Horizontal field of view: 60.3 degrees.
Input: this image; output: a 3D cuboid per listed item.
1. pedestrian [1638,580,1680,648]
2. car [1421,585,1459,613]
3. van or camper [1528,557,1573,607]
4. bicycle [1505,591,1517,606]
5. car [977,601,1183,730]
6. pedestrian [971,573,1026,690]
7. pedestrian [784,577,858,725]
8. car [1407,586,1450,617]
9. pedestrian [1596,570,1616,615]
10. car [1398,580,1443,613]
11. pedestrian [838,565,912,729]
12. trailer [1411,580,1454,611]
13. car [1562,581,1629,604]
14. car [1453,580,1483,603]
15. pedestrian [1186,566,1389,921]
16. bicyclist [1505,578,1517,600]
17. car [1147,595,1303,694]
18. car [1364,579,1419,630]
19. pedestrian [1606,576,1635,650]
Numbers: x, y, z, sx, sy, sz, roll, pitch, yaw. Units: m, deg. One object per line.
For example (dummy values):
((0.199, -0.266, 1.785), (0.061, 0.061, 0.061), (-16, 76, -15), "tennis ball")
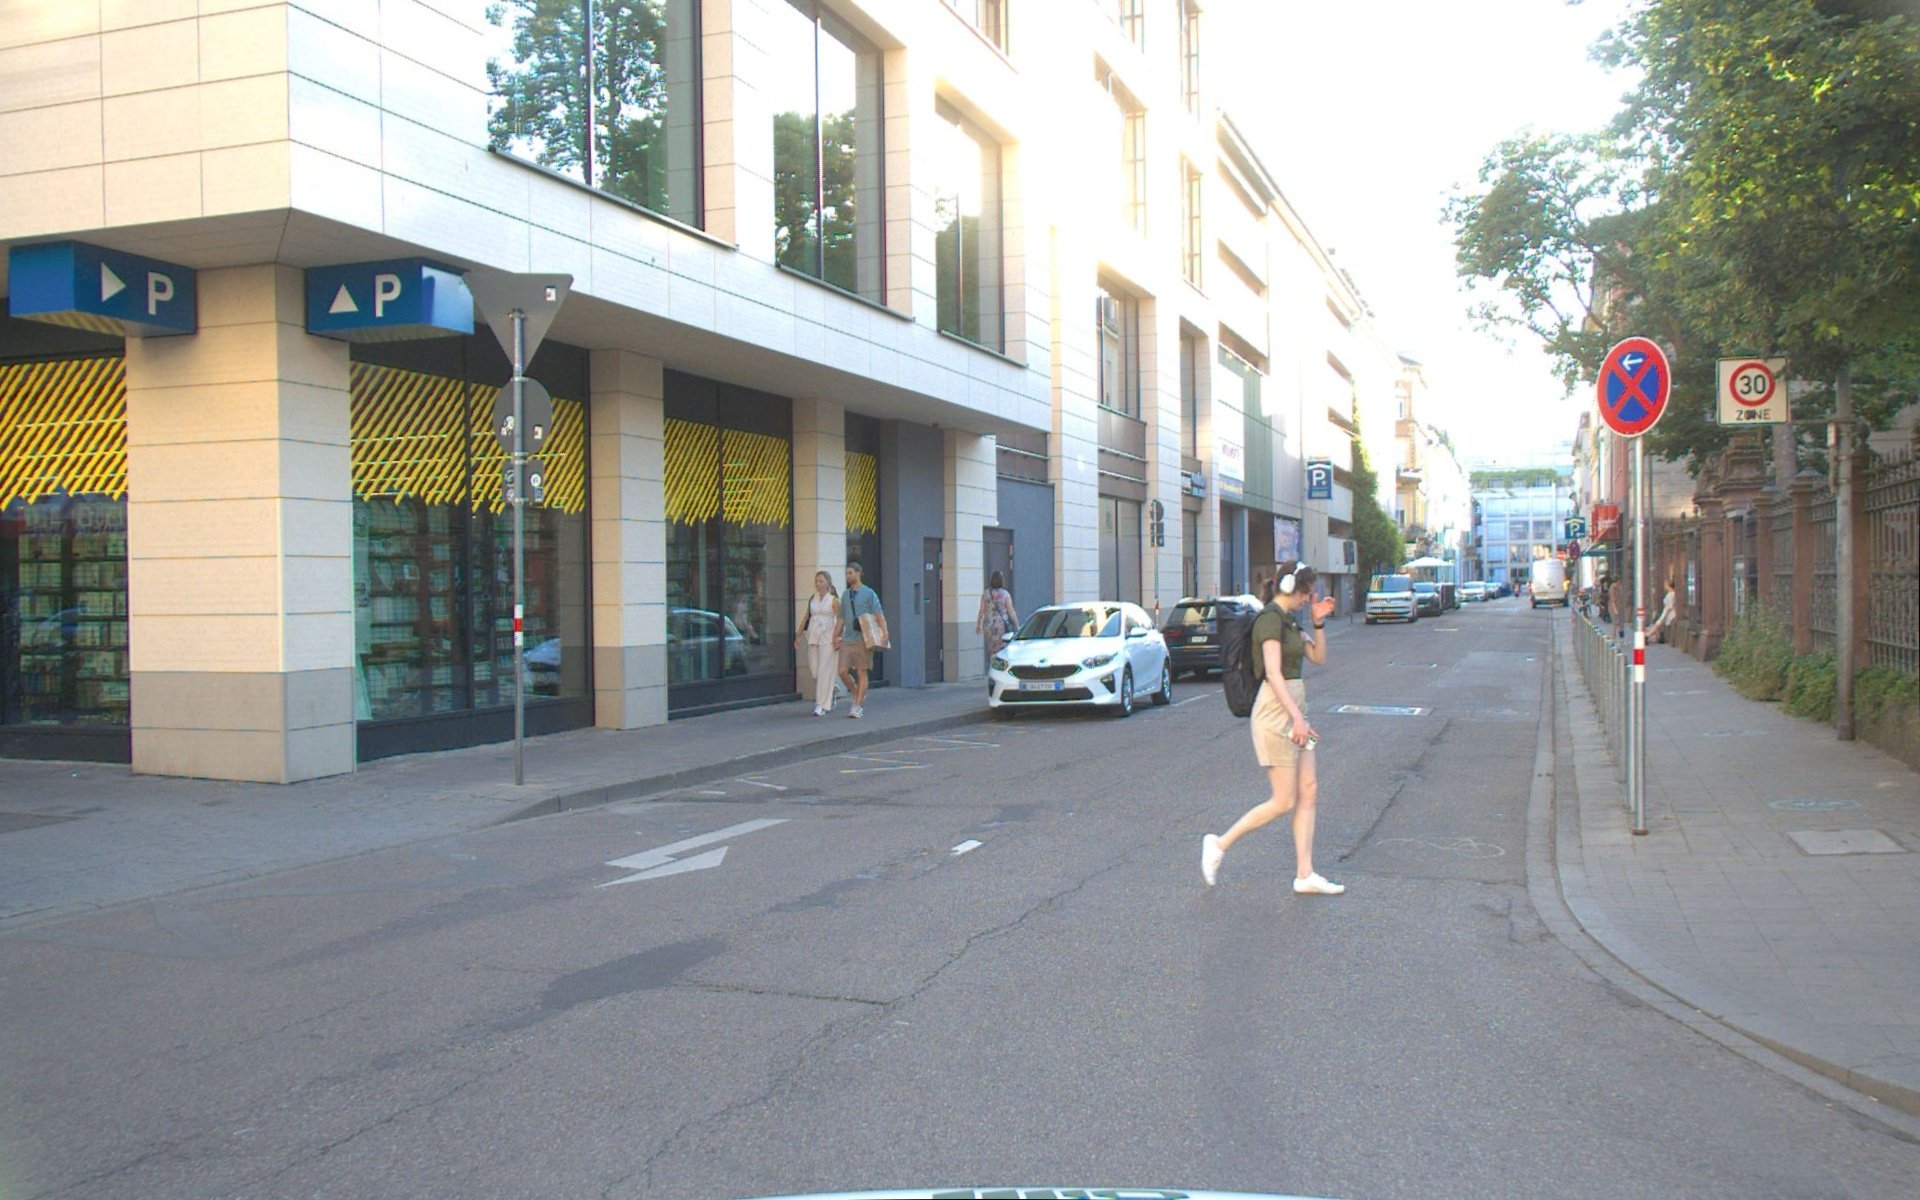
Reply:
((16.059, 0.323, 38.014), (0.733, 1.526, 0.619), (-3, 0, 14), "pedestrian")
((26.196, -0.079, 90.185), (1.844, 1.478, 4.002), (-1, 0, 18), "car")
((34.201, -1.000, 95.793), (2.211, 2.652, 5.113), (-5, -2, 20), "van or camper")
((46.954, -0.120, 140.913), (0.955, 1.302, 2.755), (-1, 0, 20), "bicycle")
((1.703, 0.790, 21.943), (1.740, 1.478, 4.233), (-1, 0, 18), "car")
((0.606, 0.481, 25.632), (0.658, 1.775, 0.647), (-1, 0, 20), "pedestrian")
((-1.627, 0.583, 19.448), (0.658, 1.704, 0.648), (-1, 0, 17), "pedestrian")
((23.154, 0.068, 81.644), (1.844, 1.478, 4.002), (-1, 0, 18), "car")
((24.963, -0.285, 63.931), (0.648, 1.695, 0.624), (-3, -1, 20), "pedestrian")
((21.538, -0.185, 77.254), (1.844, 1.478, 4.002), (-1, 0, 18), "car")
((-0.988, 0.529, 19.240), (0.658, 1.868, 0.648), (-1, 0, 17), "pedestrian")
((24.528, -0.226, 85.772), (1.952, 1.584, 4.002), (-1, 0, 18), "trailer")
((40.312, -0.454, 105.034), (3.904, 1.445, 1.657), (-1, 0, 20), "car")
((37.624, -0.610, 122.512), (1.952, 1.713, 4.001), (-1, 0, 20), "car")
((1.715, 0.706, 8.707), (0.630, 1.753, 0.835), (-1, 0, -36), "pedestrian")
((46.978, -0.951, 141.021), (0.969, 1.901, 0.708), (-1, 0, 20), "bicyclist")
((4.941, 0.746, 30.267), (1.845, 1.626, 4.689), (-1, 0, 22), "car")
((17.370, 0.162, 66.438), (1.844, 1.945, 4.750), (-1, 0, 18), "car")
((15.369, 0.294, 38.484), (0.474, 1.687, 0.619), (-3, 0, 13), "pedestrian")
